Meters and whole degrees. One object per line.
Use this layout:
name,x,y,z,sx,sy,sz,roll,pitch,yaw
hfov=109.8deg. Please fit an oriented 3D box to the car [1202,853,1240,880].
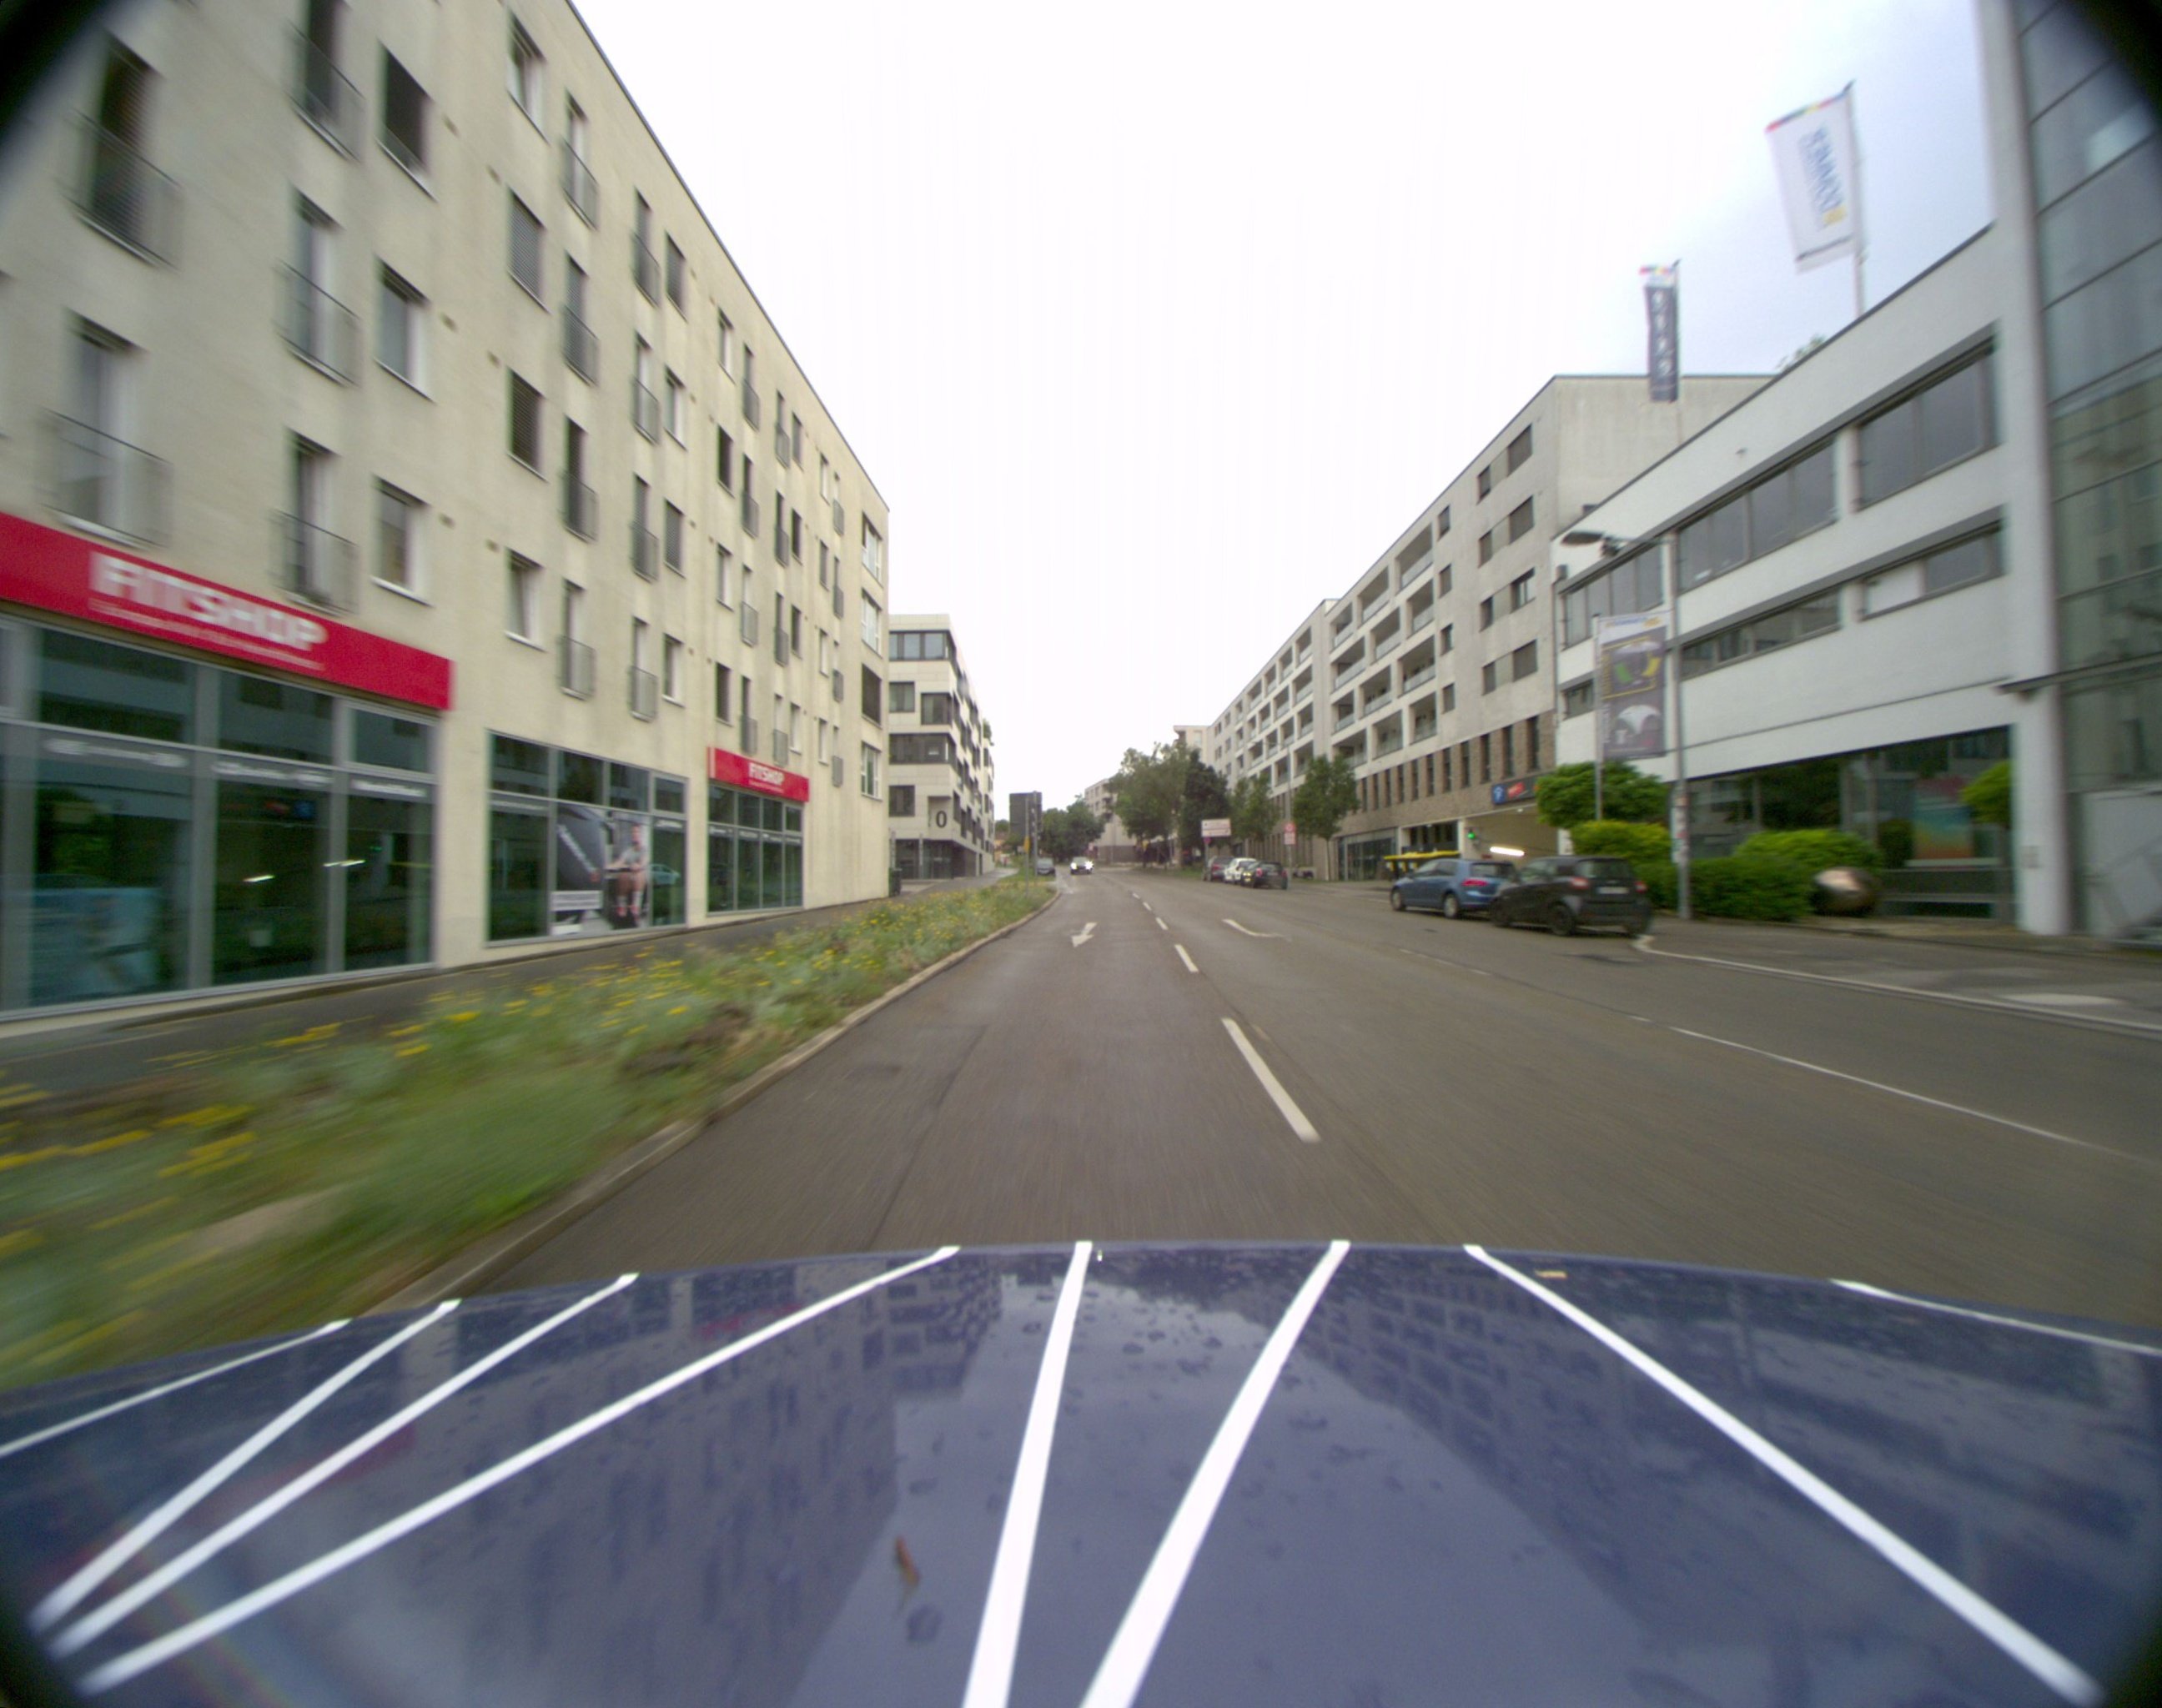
car,8.914,0.782,48.707,1.630,1.609,3.972,2,0,-1

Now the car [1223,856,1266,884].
car,9.324,0.877,43.534,1.597,1.459,3.421,2,1,-2

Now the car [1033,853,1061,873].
car,-2.862,0.724,64.451,1.998,1.477,4.000,-3,1,2

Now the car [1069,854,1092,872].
car,0.000,0.856,73.406,1.998,1.565,4.000,-3,1,2

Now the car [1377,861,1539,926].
car,9.362,0.913,19.313,1.661,1.395,4.267,1,0,-5

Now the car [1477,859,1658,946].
car,9.603,0.899,15.260,1.519,1.501,2.980,1,0,-5

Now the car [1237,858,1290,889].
car,9.298,0.967,39.042,1.662,1.383,3.738,1,1,-2
